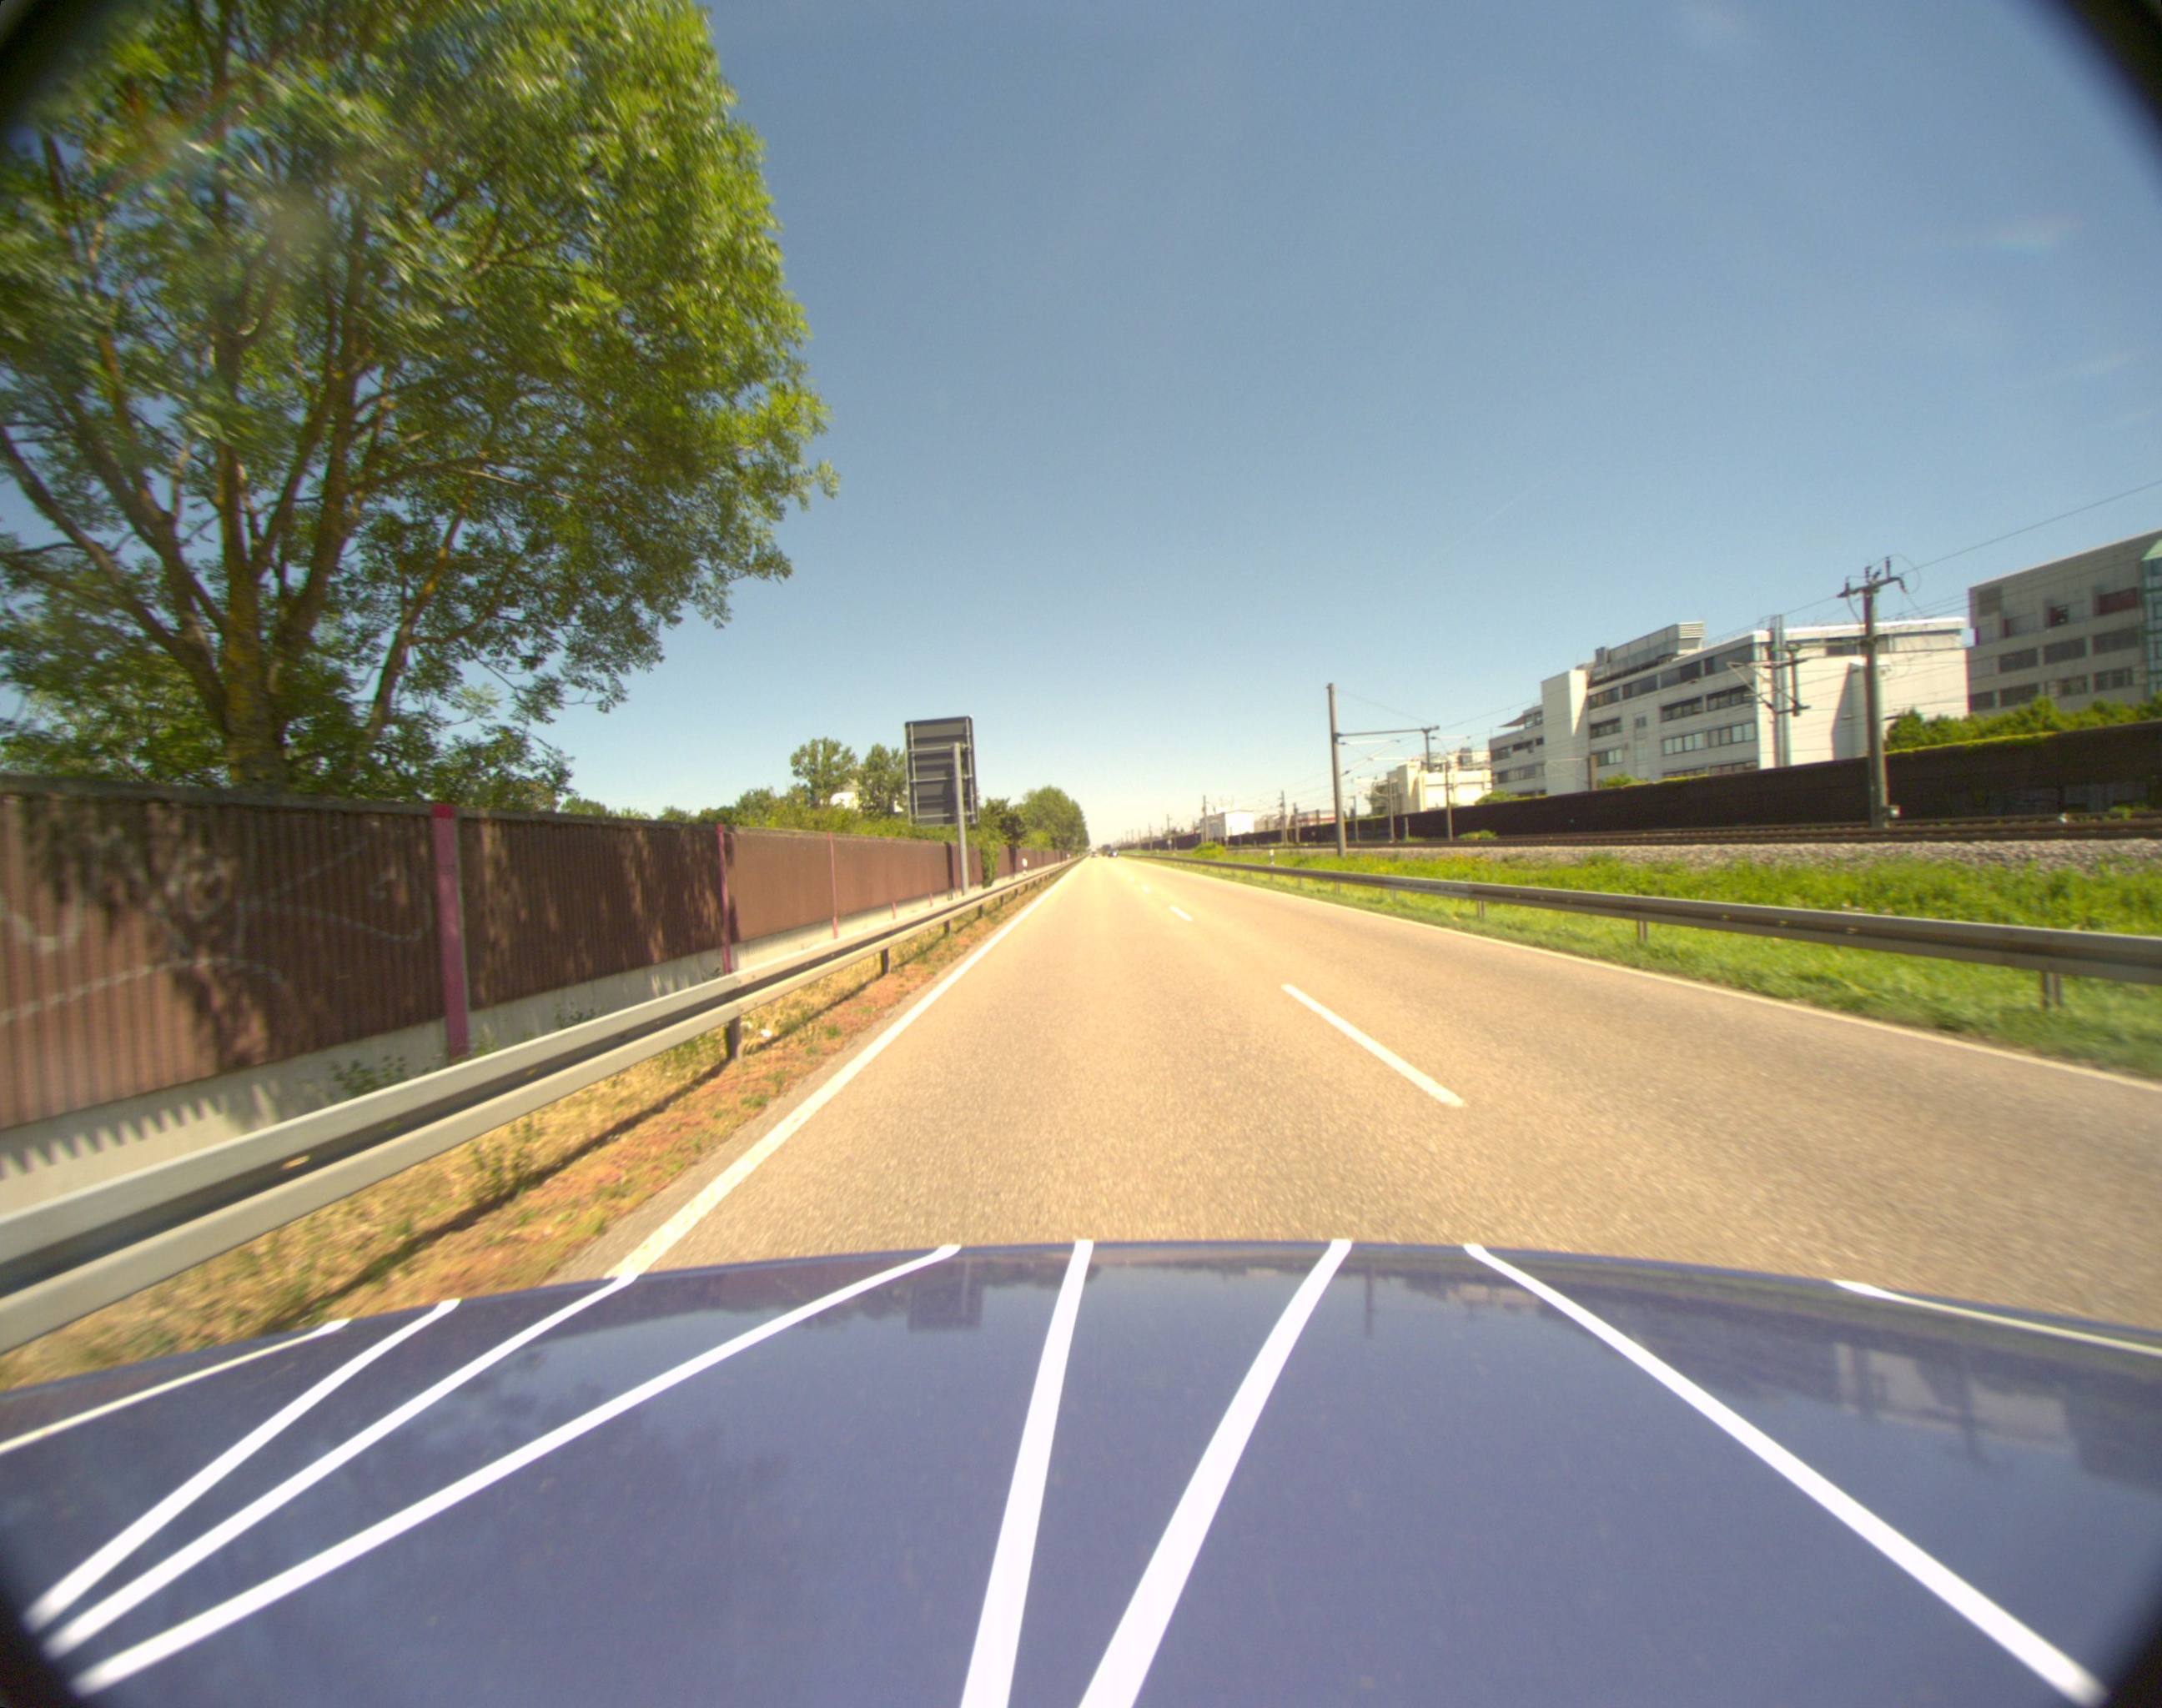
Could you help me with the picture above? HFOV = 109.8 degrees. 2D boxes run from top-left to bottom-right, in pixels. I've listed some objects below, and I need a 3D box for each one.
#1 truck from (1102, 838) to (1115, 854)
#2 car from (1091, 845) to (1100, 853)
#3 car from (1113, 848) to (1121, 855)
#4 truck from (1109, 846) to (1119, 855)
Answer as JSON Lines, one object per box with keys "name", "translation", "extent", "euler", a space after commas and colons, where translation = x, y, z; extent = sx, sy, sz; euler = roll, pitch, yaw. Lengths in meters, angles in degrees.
{"name": "truck", "translation": [8.421, -2.461, 234.990], "extent": [3.054, 4.449, 10.586], "euler": [-2, 1, -1]}
{"name": "car", "translation": [3.660, -1.235, 190.891], "extent": [1.998, 2.002, 4.001], "euler": [-2, 1, 4]}
{"name": "car", "translation": [8.168, -0.567, 172.035], "extent": [1.803, 1.455, 4.000], "euler": [-2, 1, 2]}
{"name": "truck", "translation": [8.794, -1.063, 200.825], "extent": [2.389, 2.256, 6.237], "euler": [-2, 1, 2]}
